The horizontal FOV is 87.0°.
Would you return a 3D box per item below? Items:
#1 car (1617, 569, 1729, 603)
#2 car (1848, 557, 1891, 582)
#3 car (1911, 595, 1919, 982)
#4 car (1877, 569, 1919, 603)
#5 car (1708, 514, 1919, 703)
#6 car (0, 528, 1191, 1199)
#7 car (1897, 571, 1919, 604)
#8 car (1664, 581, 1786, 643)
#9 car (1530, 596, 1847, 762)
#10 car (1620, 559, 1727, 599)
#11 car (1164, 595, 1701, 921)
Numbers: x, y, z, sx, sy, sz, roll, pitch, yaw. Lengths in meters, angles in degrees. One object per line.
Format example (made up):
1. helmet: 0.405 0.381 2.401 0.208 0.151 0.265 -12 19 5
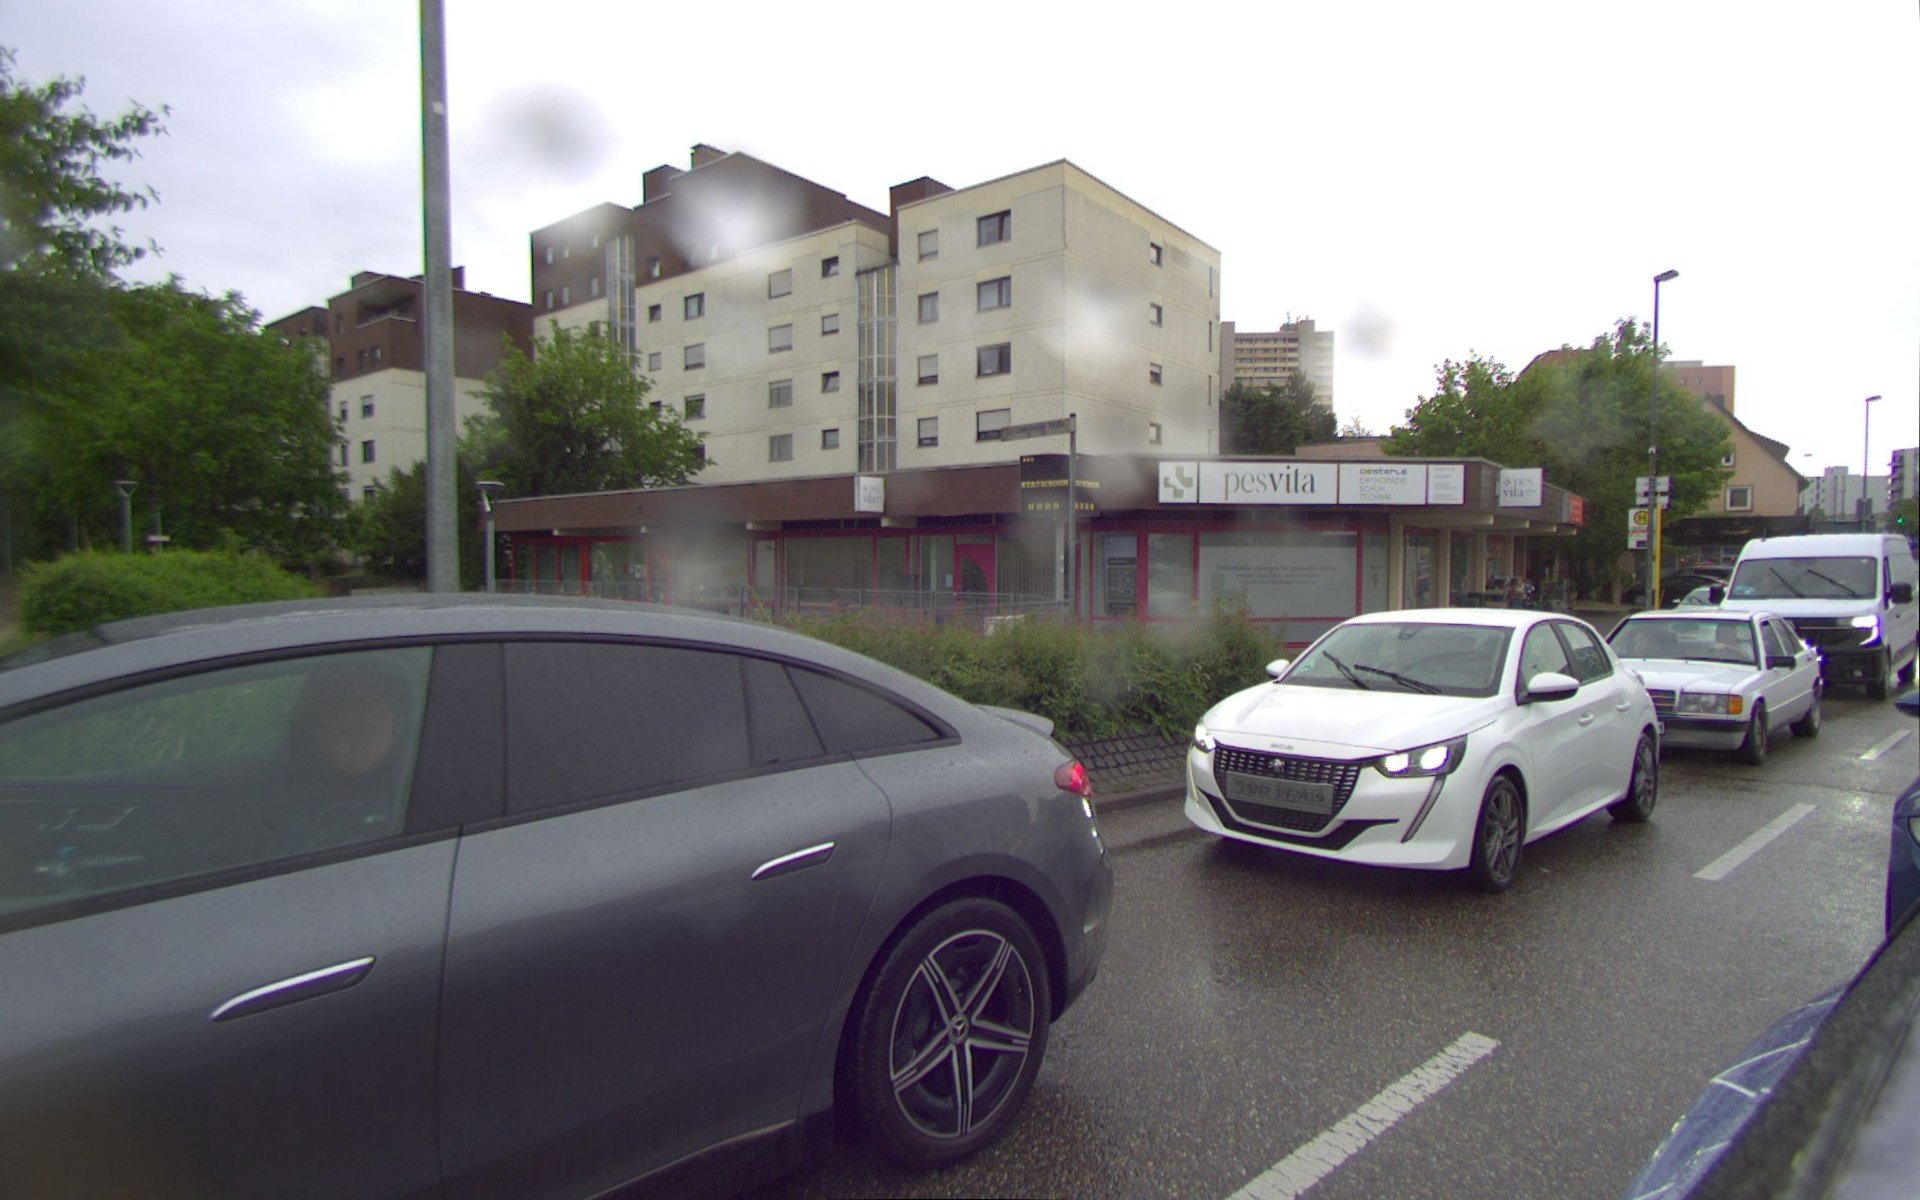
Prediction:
1. car: 31.874 -0.641 45.276 3.981 1.445 1.858 2 2 39
2. car: 69.449 -2.328 77.230 3.930 1.776 1.879 0 3 -41
3. car: 5.473 0.677 4.415 3.933 1.406 1.690 -1 1 -43
4. car: 59.786 -0.944 64.422 1.993 2.038 3.940 2 3 42
5. car: 14.228 0.035 16.552 6.021 2.549 2.194 -2 2 -43
6. car: -1.614 0.646 2.435 4.724 1.485 1.840 0 -1 -41
7. car: 47.570 -0.624 49.733 3.933 1.588 1.996 -2 1 -43
8. car: 20.155 0.265 26.610 3.930 1.509 1.787 -1 1 -41
9. car: 7.730 0.662 10.596 4.089 1.362 1.787 -1 1 -41
10. car: 33.366 -1.001 47.385 3.981 1.801 1.858 2 2 39
11. car: 3.241 0.705 6.546 4.043 1.433 1.665 -1 1 -41
